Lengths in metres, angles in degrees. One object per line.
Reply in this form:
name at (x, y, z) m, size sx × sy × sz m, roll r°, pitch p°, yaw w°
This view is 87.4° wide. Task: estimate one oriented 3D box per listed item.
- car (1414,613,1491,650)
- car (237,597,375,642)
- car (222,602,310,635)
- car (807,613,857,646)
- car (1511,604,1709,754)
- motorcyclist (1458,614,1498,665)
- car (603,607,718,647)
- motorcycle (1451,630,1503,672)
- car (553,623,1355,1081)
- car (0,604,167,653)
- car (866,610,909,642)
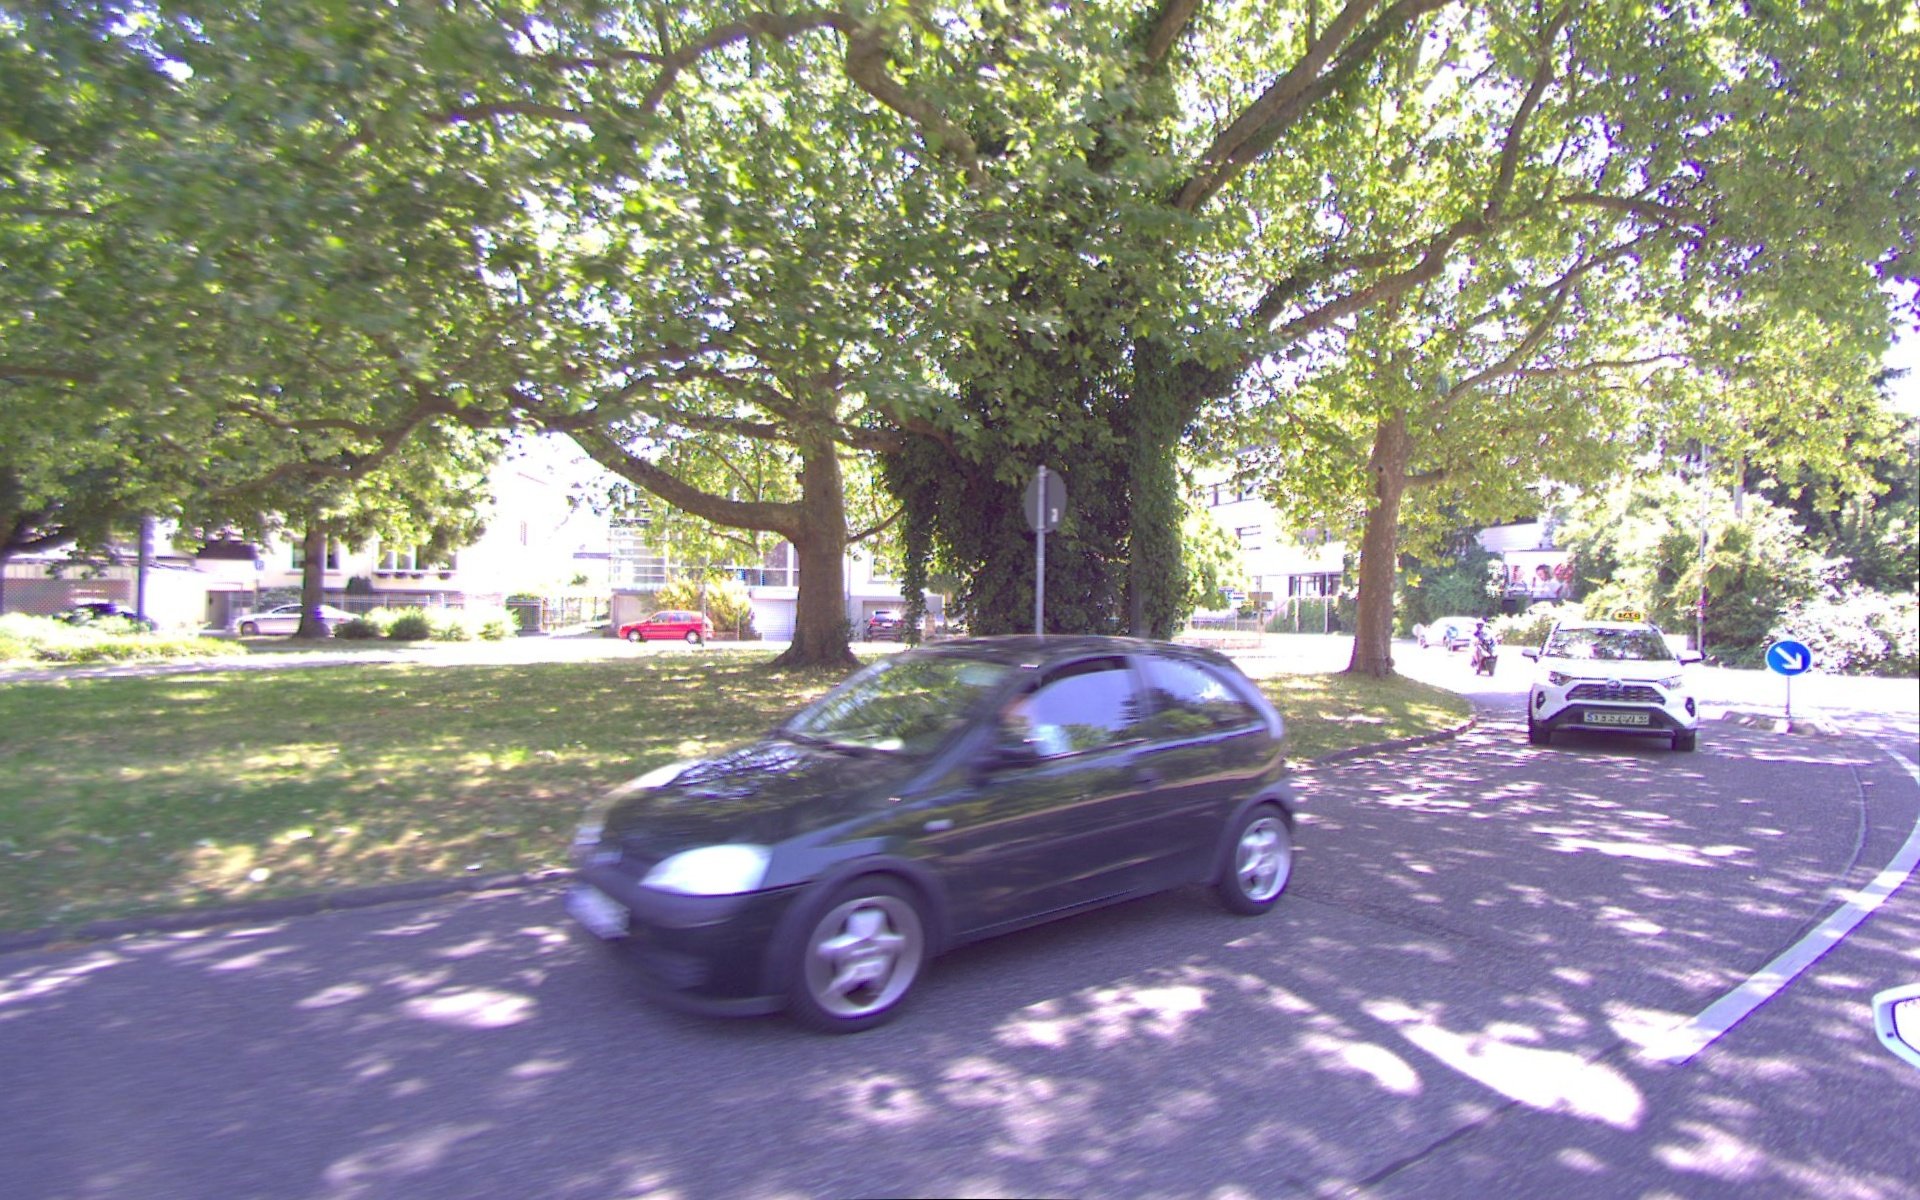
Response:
car at (24.933, 1.550, 51.029) m, size 1.903 × 1.636 × 4.473 m, roll 3°, pitch 0°, yaw 5°
car at (-27.723, 0.821, 42.710) m, size 4.421 × 1.802 × 1.998 m, roll 1°, pitch 0°, yaw -6°
car at (-35.234, 0.926, 51.121) m, size 1.962 × 1.606 × 3.997 m, roll 1°, pitch 0°, yaw -5°
car at (-6.145, 1.377, 48.578) m, size 1.844 × 1.453 × 4.000 m, roll 2°, pitch 0°, yaw 0°
car at (9.130, 0.993, 14.220) m, size 2.014 × 1.770 × 4.312 m, roll -2°, pitch -2°, yaw 33°
motorcyclist at (16.402, 1.235, 31.821) m, size 0.793 × 1.576 × 1.105 m, roll 1°, pitch 0°, yaw 7°
car at (-12.967, 1.174, 43.678) m, size 4.421 × 1.640 × 1.999 m, roll 1°, pitch 0°, yaw -5°
motorcycle at (16.398, 1.595, 31.919) m, size 0.793 × 1.248 × 2.052 m, roll 1°, pitch -1°, yaw 8°
car at (0.228, 0.845, 5.096) m, size 3.967 × 1.436 × 1.627 m, roll 1°, pitch -2°, yaw -40°
car at (-33.752, 1.105, 38.796) m, size 4.432 × 1.802 × 1.993 m, roll 1°, pitch 0°, yaw -16°
car at (-3.552, 1.269, 49.803) m, size 1.961 × 1.445 × 3.999 m, roll 2°, pitch 0°, yaw -2°
